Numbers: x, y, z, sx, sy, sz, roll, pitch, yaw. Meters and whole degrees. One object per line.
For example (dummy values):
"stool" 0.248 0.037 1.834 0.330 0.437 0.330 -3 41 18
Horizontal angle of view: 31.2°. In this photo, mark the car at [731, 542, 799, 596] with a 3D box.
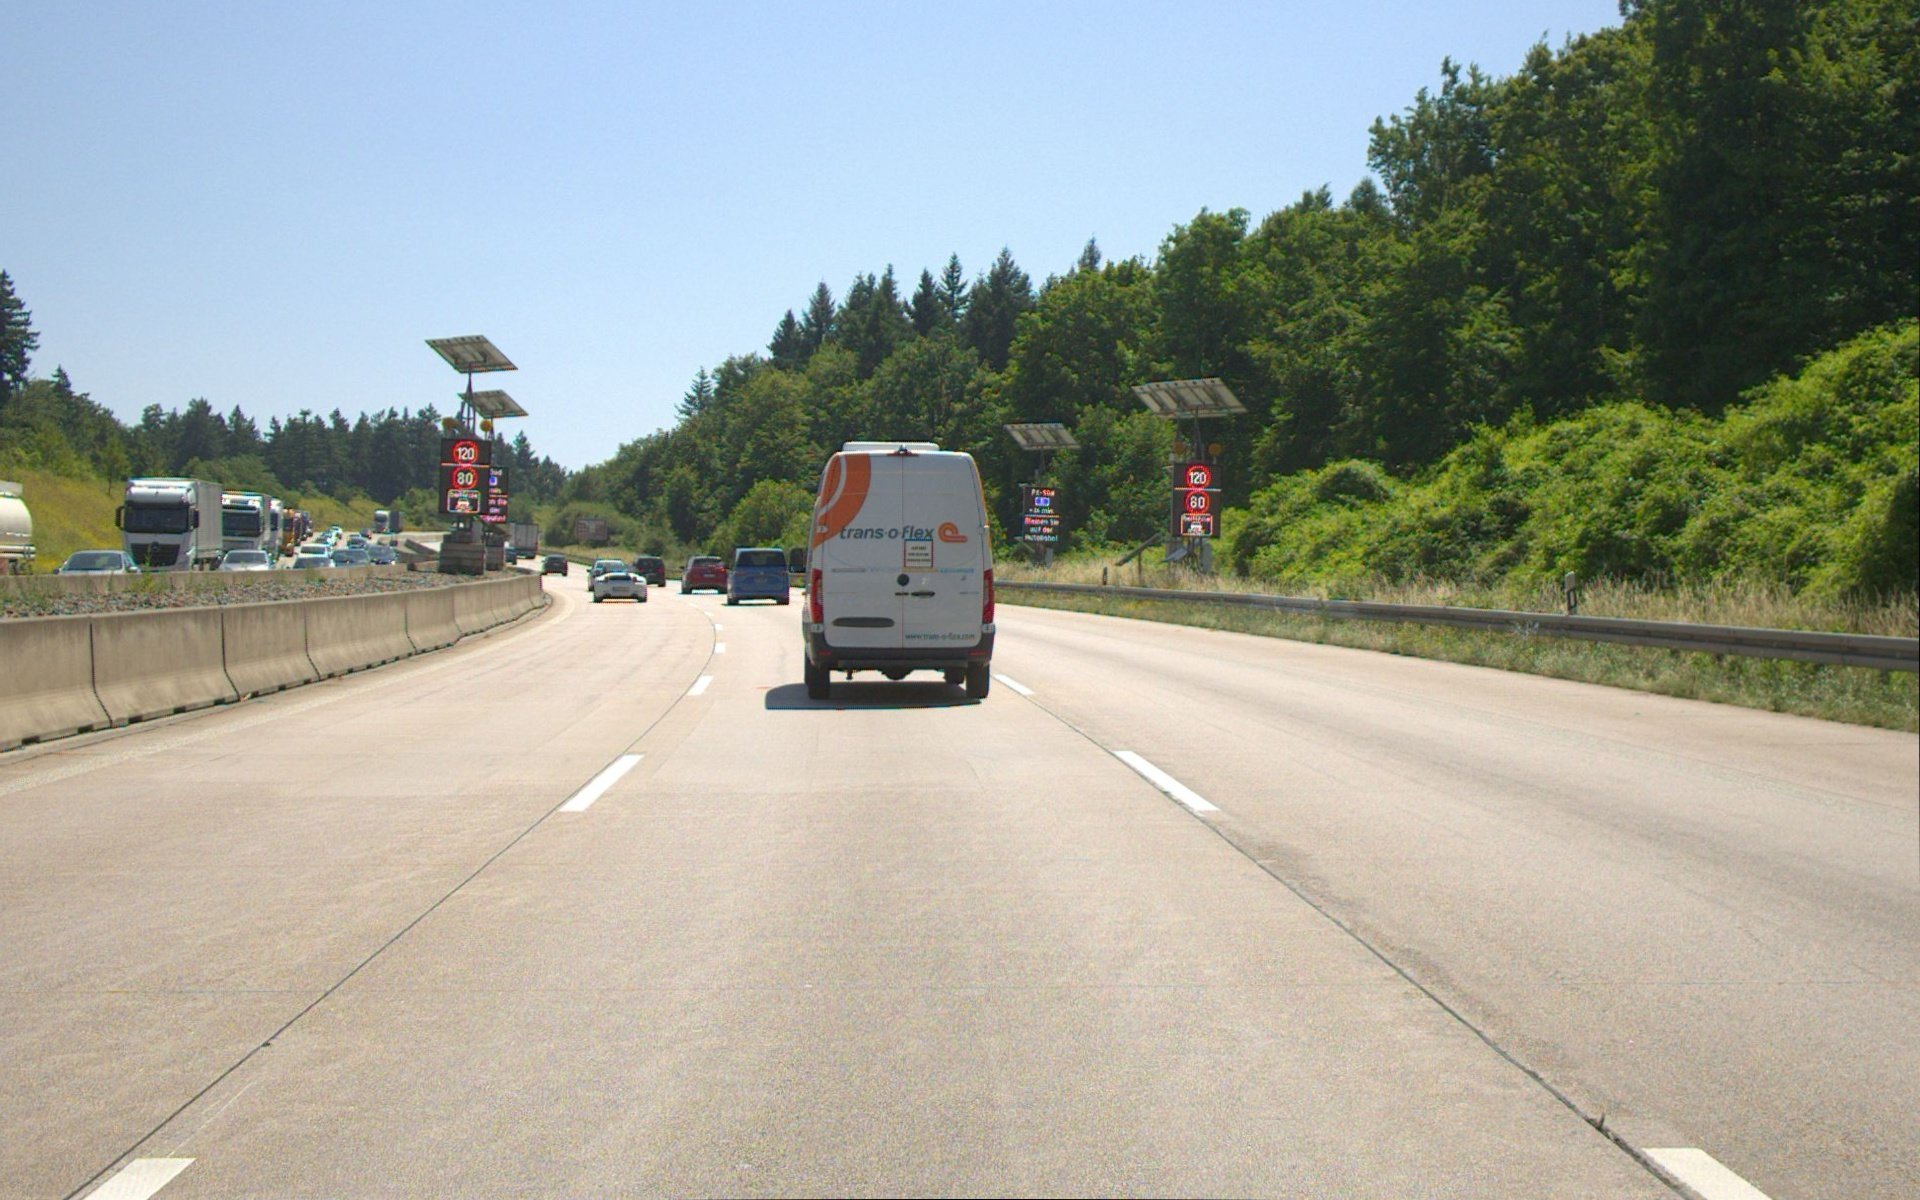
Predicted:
"car" -6.522 -1.041 114.431 1.993 1.678 4.001 2 0 -6

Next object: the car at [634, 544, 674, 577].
"car" -16.468 -2.098 184.666 1.993 1.678 4.001 2 0 -6

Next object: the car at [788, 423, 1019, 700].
"car" -0.719 -0.465 38.184 2.226 2.834 5.455 1 1 -4

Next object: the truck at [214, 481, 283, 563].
"truck" -37.910 -4.116 183.398 2.933 4.154 6.231 2 0 -7

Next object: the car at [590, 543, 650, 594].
"car" -11.933 -1.107 120.553 1.993 1.678 4.001 2 0 -6

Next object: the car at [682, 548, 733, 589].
"car" -10.961 -1.372 148.846 1.993 1.678 4.001 2 0 -6

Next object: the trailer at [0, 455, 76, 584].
"trailer" -25.664 -2.092 89.545 2.933 3.204 11.834 2 0 -4

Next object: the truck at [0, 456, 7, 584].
"truck" -25.173 -2.026 83.007 2.933 3.204 5.906 2 0 -4

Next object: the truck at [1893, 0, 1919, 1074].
"truck" 4.303 -0.612 4.421 3.159 4.003 10.608 1 1 -1

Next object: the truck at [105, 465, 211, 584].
"truck" -29.350 -2.732 125.995 2.933 4.154 5.762 2 0 -6

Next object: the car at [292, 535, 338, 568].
"car" -33.081 -2.493 176.342 1.993 1.678 4.001 0 1 -6

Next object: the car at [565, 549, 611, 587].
"car" -17.141 -1.477 158.482 1.993 1.678 4.001 2 0 -6

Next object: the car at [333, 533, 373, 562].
"car" -35.502 -3.095 201.115 1.993 1.678 4.001 0 1 -6

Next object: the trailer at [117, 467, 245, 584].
"trailer" -30.080 -2.805 133.359 2.933 4.154 14.391 2 0 -6
